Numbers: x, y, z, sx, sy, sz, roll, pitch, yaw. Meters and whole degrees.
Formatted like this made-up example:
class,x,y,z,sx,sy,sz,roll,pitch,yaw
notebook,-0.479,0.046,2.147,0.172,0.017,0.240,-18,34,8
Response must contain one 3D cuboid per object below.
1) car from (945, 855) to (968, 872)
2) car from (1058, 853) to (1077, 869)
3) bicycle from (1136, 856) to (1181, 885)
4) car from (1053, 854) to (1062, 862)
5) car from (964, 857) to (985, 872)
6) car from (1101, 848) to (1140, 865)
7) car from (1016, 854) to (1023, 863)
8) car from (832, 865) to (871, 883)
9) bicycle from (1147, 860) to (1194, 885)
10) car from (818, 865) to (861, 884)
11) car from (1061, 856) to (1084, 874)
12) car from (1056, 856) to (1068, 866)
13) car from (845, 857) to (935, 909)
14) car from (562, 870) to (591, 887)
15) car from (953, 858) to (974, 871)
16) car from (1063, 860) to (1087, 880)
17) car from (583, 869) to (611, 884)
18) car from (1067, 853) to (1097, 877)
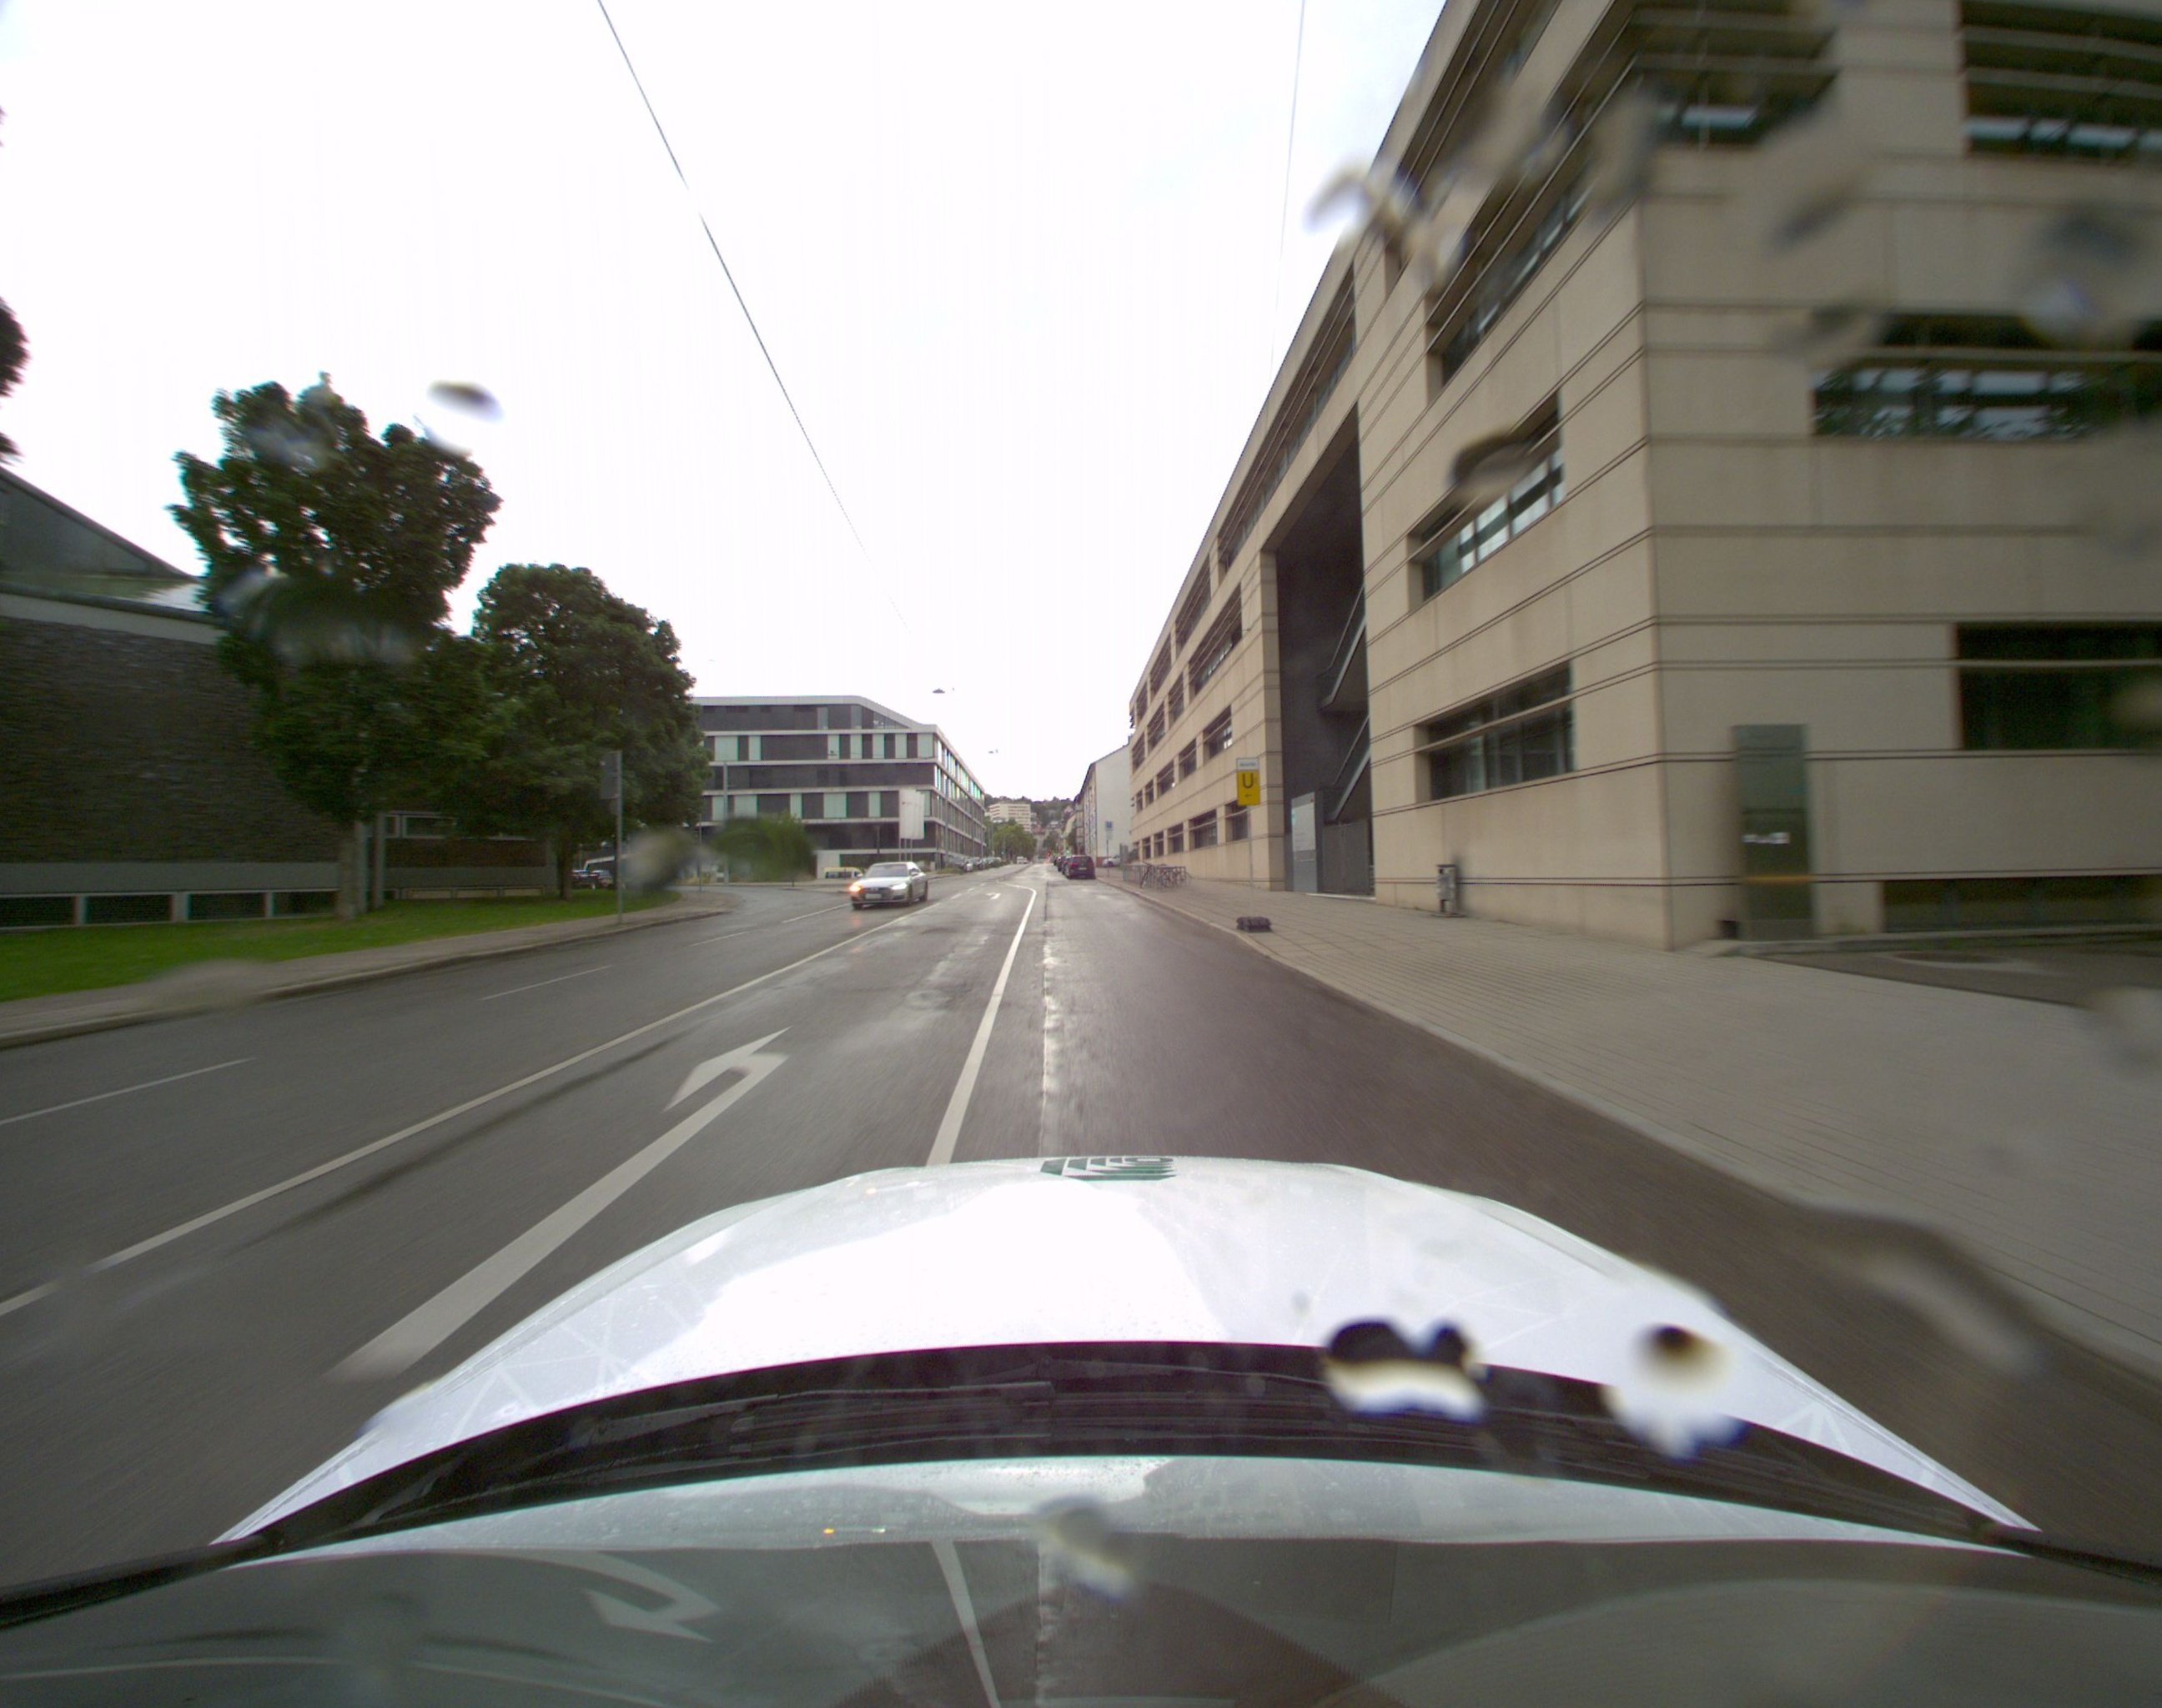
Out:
class,x,y,z,sx,sy,sz,roll,pitch,yaw
car,-12.752,0.961,83.794,1.845,1.617,4.486,-1,0,-2
car,-1.536,0.757,89.221,1.931,1.750,4.791,-1,0,-3
bicycle,3.208,0.684,33.797,1.728,1.119,0.658,-1,-1,-8
car,-5.669,0.977,195.580,1.860,1.770,4.189,-1,-1,0
car,-13.166,1.301,100.622,1.956,1.750,4.940,-1,0,0
car,4.697,0.324,98.145,4.429,1.712,1.902,-4,0,-4
car,-18.802,1.459,250.514,2.101,2.546,4.742,0,-1,-5
car,-27.979,2.423,99.356,4.332,2.032,1.596,-1,-1,-3
bicycle,3.603,0.740,32.838,1.756,0.953,0.658,-1,-1,-6
car,-28.211,2.417,95.263,4.588,2.174,1.925,0,-1,-9
car,-0.767,0.975,72.020,1.740,1.533,4.313,0,-1,-4
car,-2.923,1.062,123.371,1.702,1.454,3.980,-1,0,-3
car,-6.589,0.940,28.736,1.876,1.491,5.219,-4,0,0
car,-54.645,2.632,88.184,1.932,1.739,3.951,0,-1,-44
car,-12.997,1.138,90.485,1.816,1.419,4.398,-1,0,-2
car,-0.506,1.244,64.753,1.721,1.512,4.053,1,-1,-3
car,-50.118,2.337,84.289,1.678,1.450,3.821,0,-1,-44
car,0.017,0.754,56.479,1.767,1.604,4.388,-1,0,-4
